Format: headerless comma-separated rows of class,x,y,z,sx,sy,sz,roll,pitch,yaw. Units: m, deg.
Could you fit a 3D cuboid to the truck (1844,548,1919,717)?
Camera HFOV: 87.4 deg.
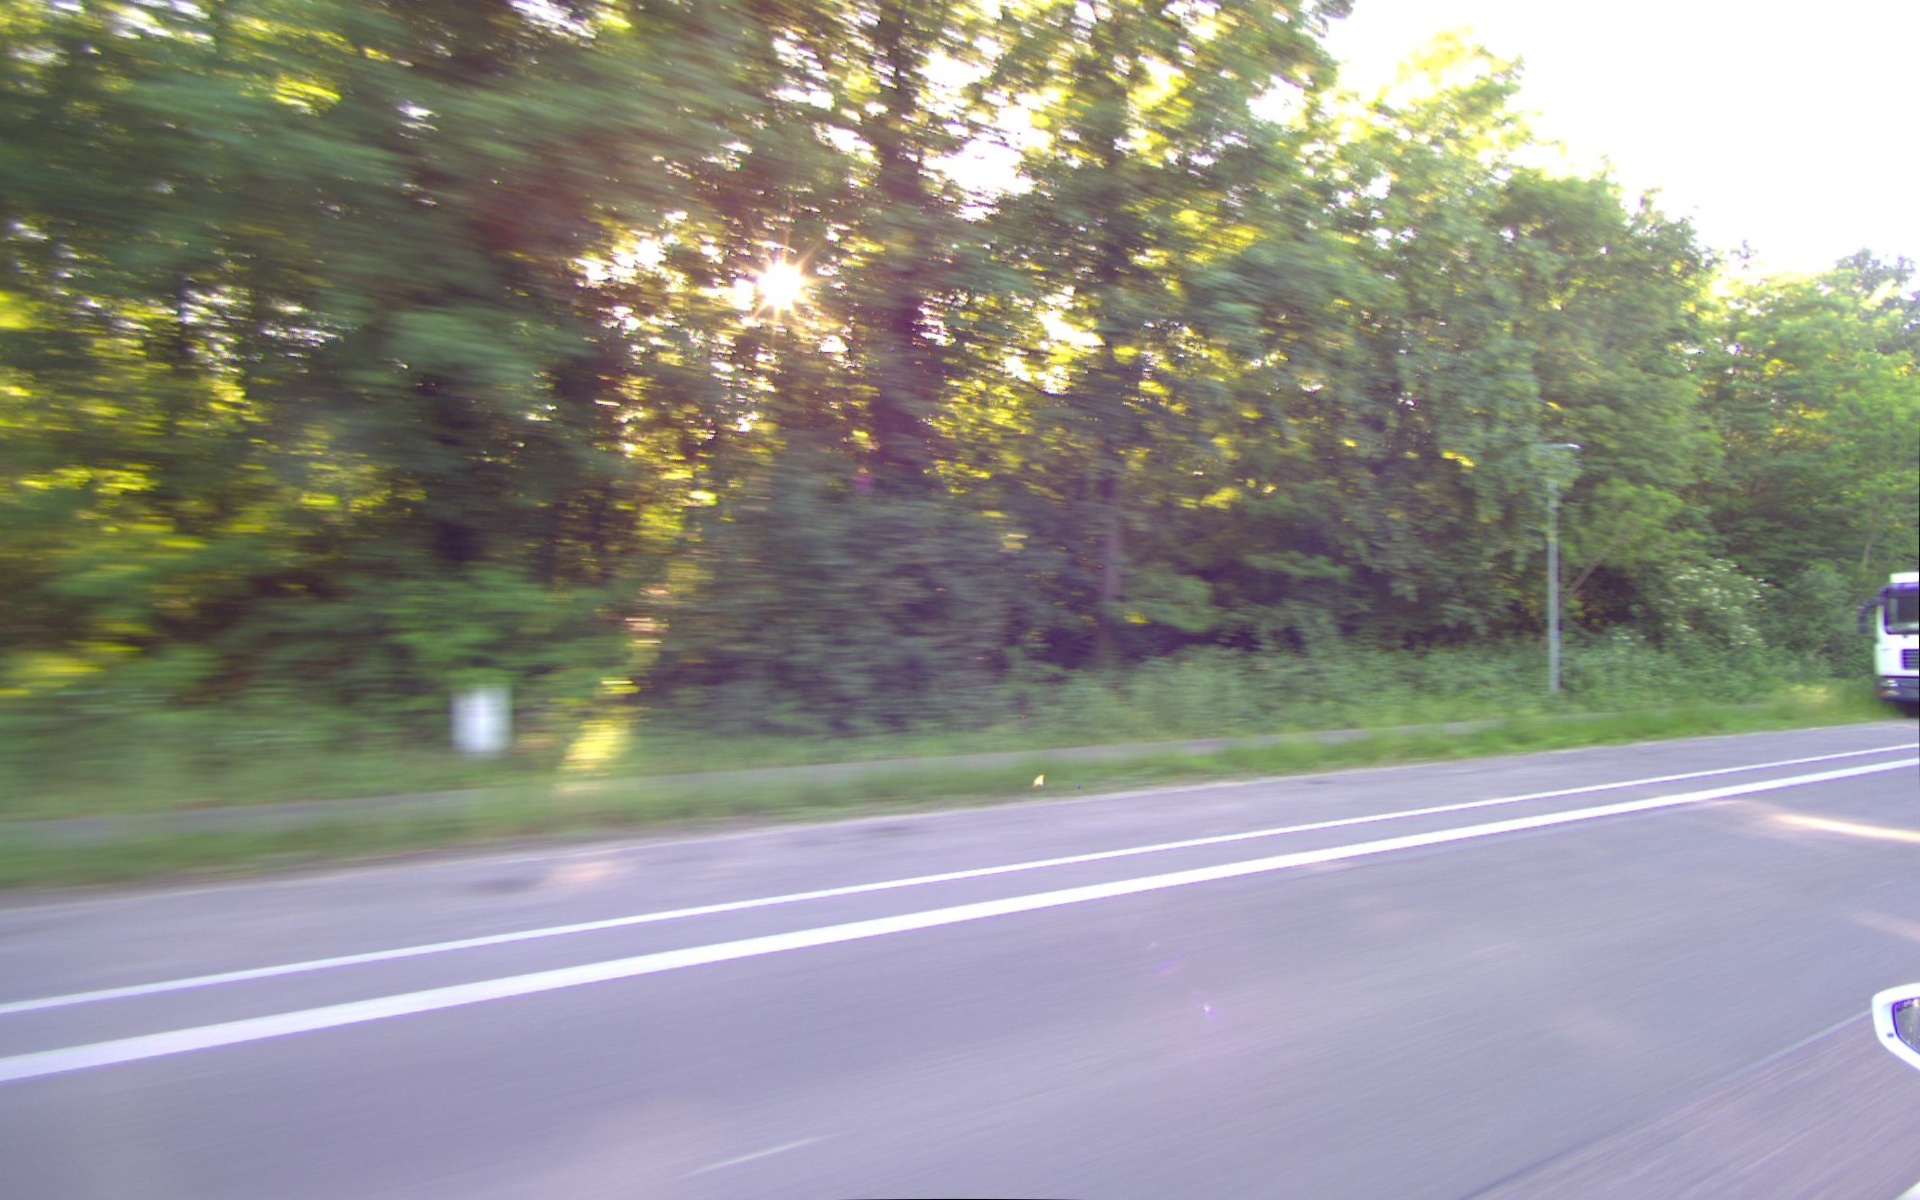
truck,21.309,0.681,20.398,7.895,3.135,2.695,1,-1,-30
